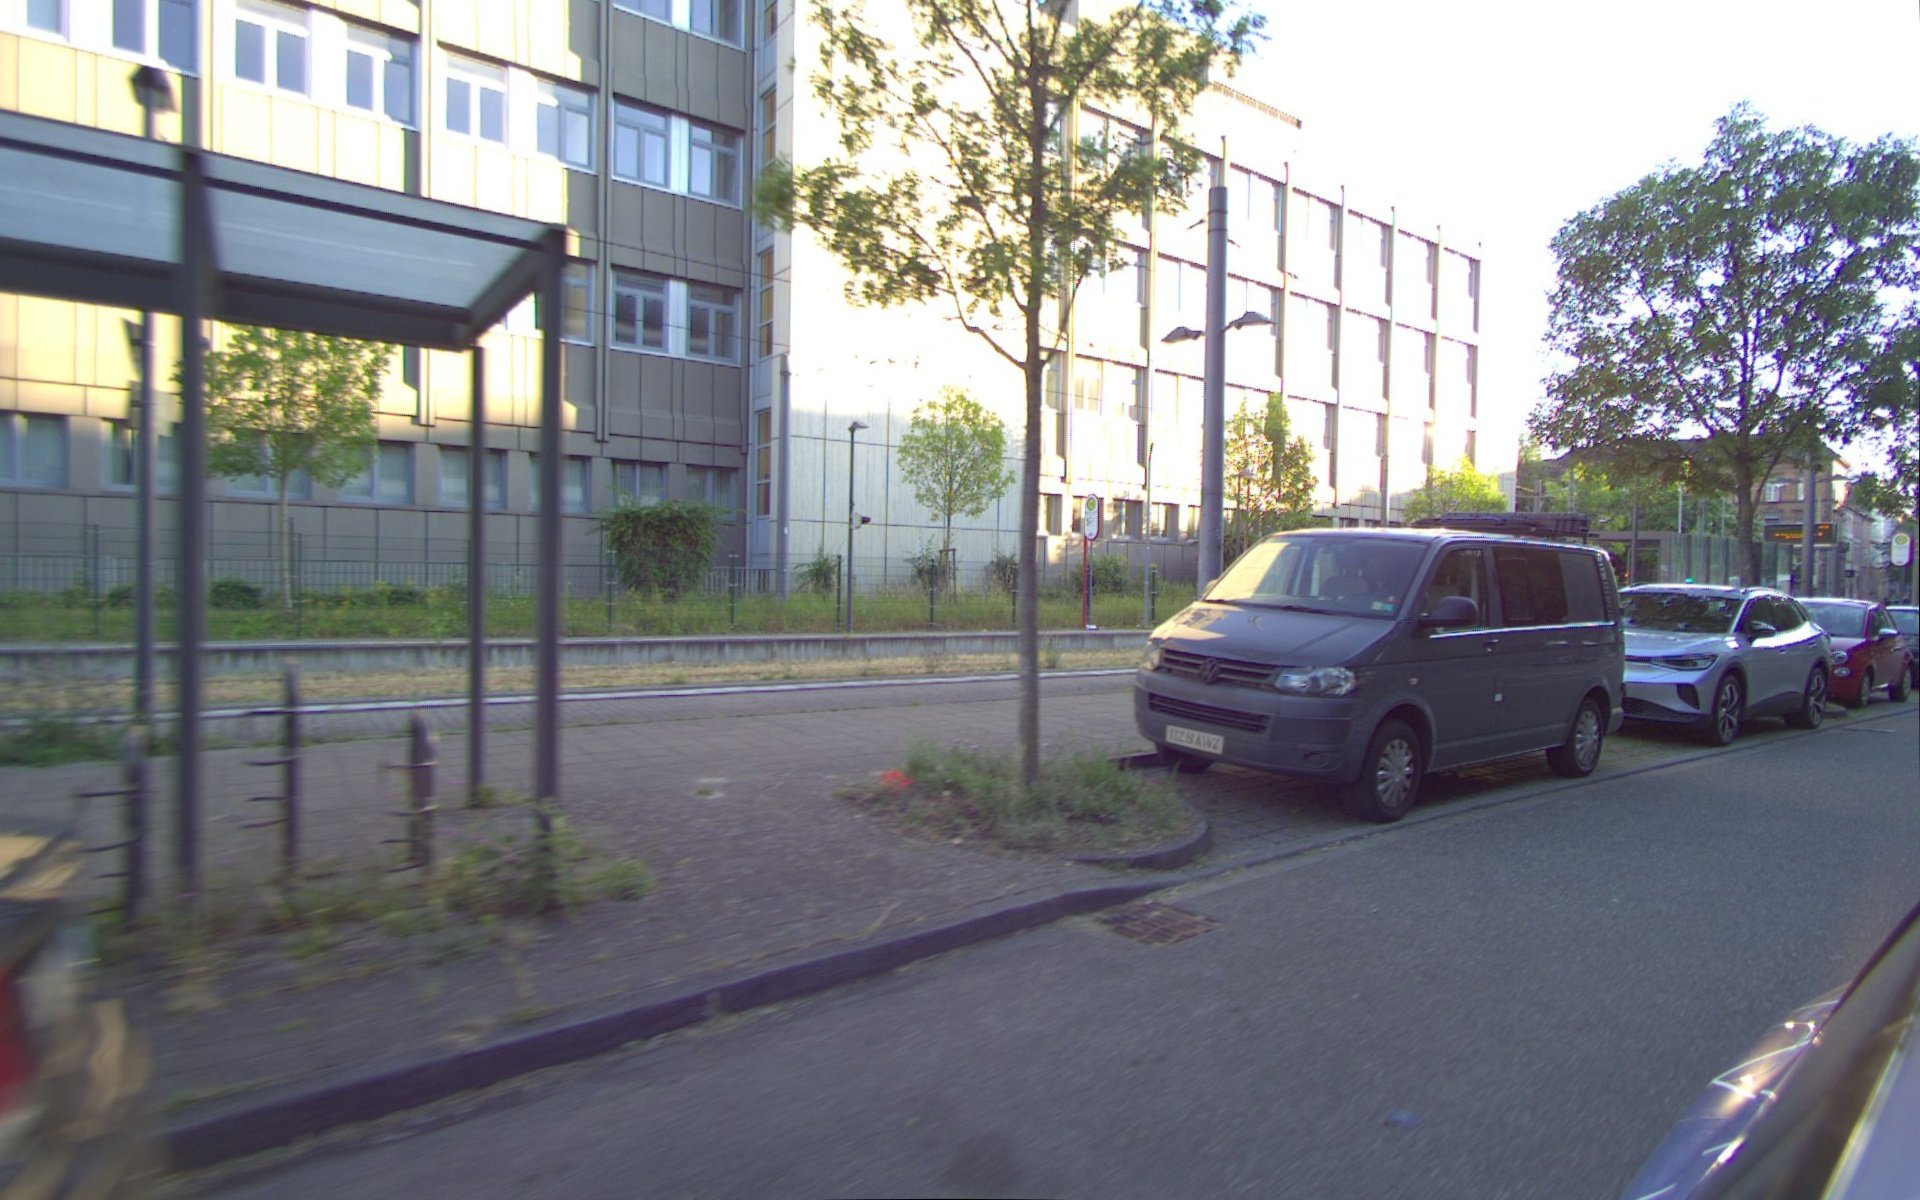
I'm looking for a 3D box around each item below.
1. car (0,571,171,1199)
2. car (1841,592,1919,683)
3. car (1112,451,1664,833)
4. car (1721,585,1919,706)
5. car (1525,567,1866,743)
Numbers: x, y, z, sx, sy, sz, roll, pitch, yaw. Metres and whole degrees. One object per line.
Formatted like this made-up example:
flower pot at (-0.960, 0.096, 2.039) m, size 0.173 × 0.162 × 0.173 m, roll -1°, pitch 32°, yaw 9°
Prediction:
car at (-3.121, 0.697, 0.385) m, size 4.434 × 1.470 × 1.791 m, roll 0°, pitch 1°, yaw -39°
car at (17.653, 0.638, 18.328) m, size 3.925 × 1.469 × 1.713 m, roll 0°, pitch 3°, yaw -37°
car at (3.529, 0.182, 7.948) m, size 4.647 × 2.203 × 1.810 m, roll 0°, pitch 3°, yaw -37°
car at (13.199, 0.582, 15.192) m, size 4.054 × 1.511 × 1.713 m, roll 0°, pitch 3°, yaw -37°
car at (8.446, 0.495, 11.507) m, size 4.393 × 1.599 × 1.714 m, roll 0°, pitch 3°, yaw -35°
